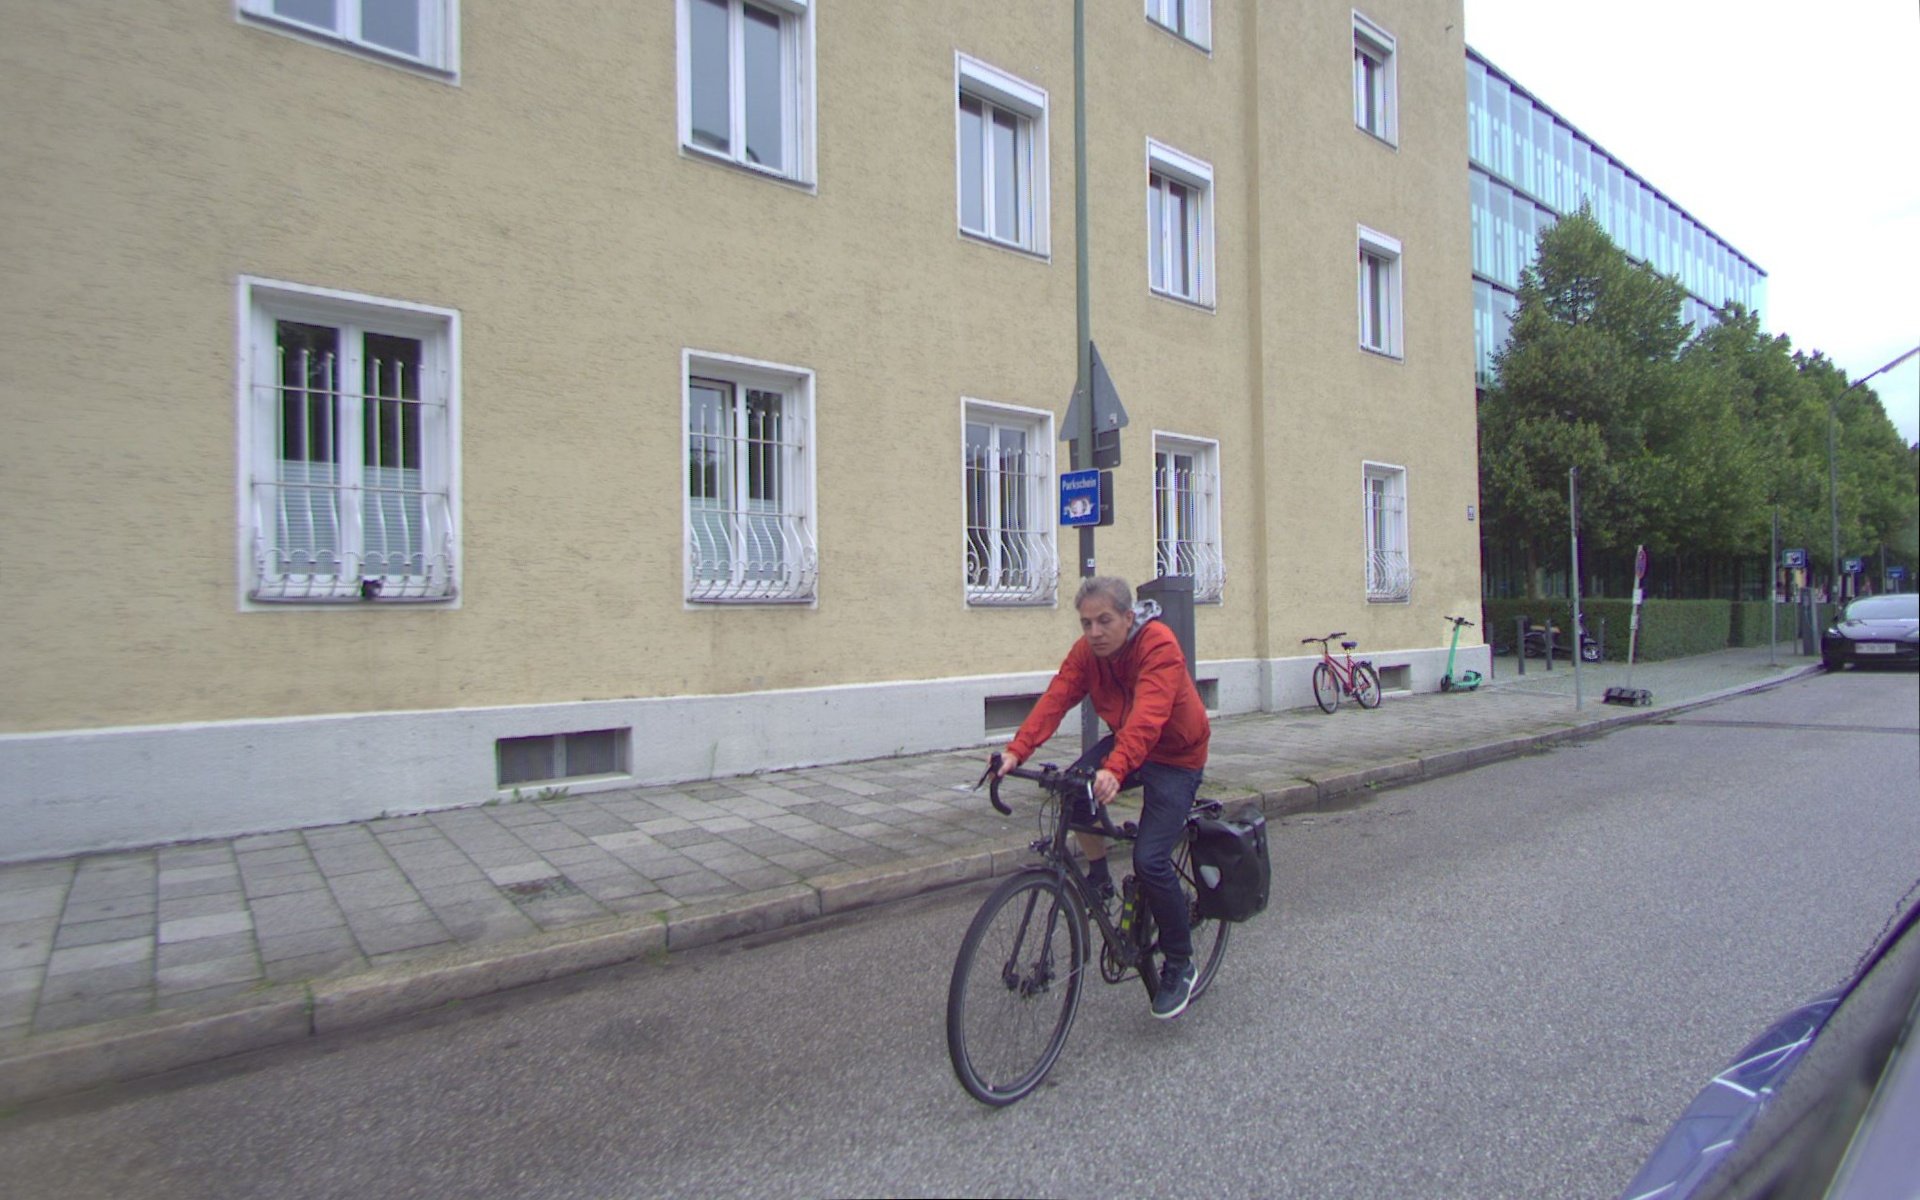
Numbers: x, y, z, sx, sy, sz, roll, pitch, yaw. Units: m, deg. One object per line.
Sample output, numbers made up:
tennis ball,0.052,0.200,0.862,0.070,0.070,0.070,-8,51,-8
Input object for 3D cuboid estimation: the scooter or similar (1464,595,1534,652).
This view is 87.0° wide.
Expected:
scooter or similar,13.058,0.548,24.516,0.659,1.318,1.349,-3,2,-43

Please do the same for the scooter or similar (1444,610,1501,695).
scooter or similar,8.143,0.808,16.071,1.286,1.271,0.342,-1,0,-40

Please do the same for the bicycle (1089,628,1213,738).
bicycle,2.196,0.905,11.488,1.782,1.095,0.342,-1,1,-41

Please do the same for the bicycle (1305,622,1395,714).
bicycle,5.294,0.891,13.684,1.728,1.150,0.342,0,-1,-40

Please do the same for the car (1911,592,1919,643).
car,32.009,0.495,32.172,4.763,1.572,1.965,0,-3,-40

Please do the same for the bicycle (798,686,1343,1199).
bicycle,0.484,0.939,3.392,1.978,1.156,0.672,-1,-3,-44

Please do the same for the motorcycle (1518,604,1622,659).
motorcycle,13.954,0.695,23.193,0.695,1.147,1.899,0,1,-38

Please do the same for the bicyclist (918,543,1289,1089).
bicyclist,0.490,0.605,3.415,0.965,1.502,0.755,0,-3,-44

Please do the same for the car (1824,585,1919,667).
car,21.037,0.521,22.323,5.006,1.652,1.998,-1,-2,-38

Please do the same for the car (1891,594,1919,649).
car,27.994,0.532,28.614,4.872,1.479,1.995,0,-3,-42
